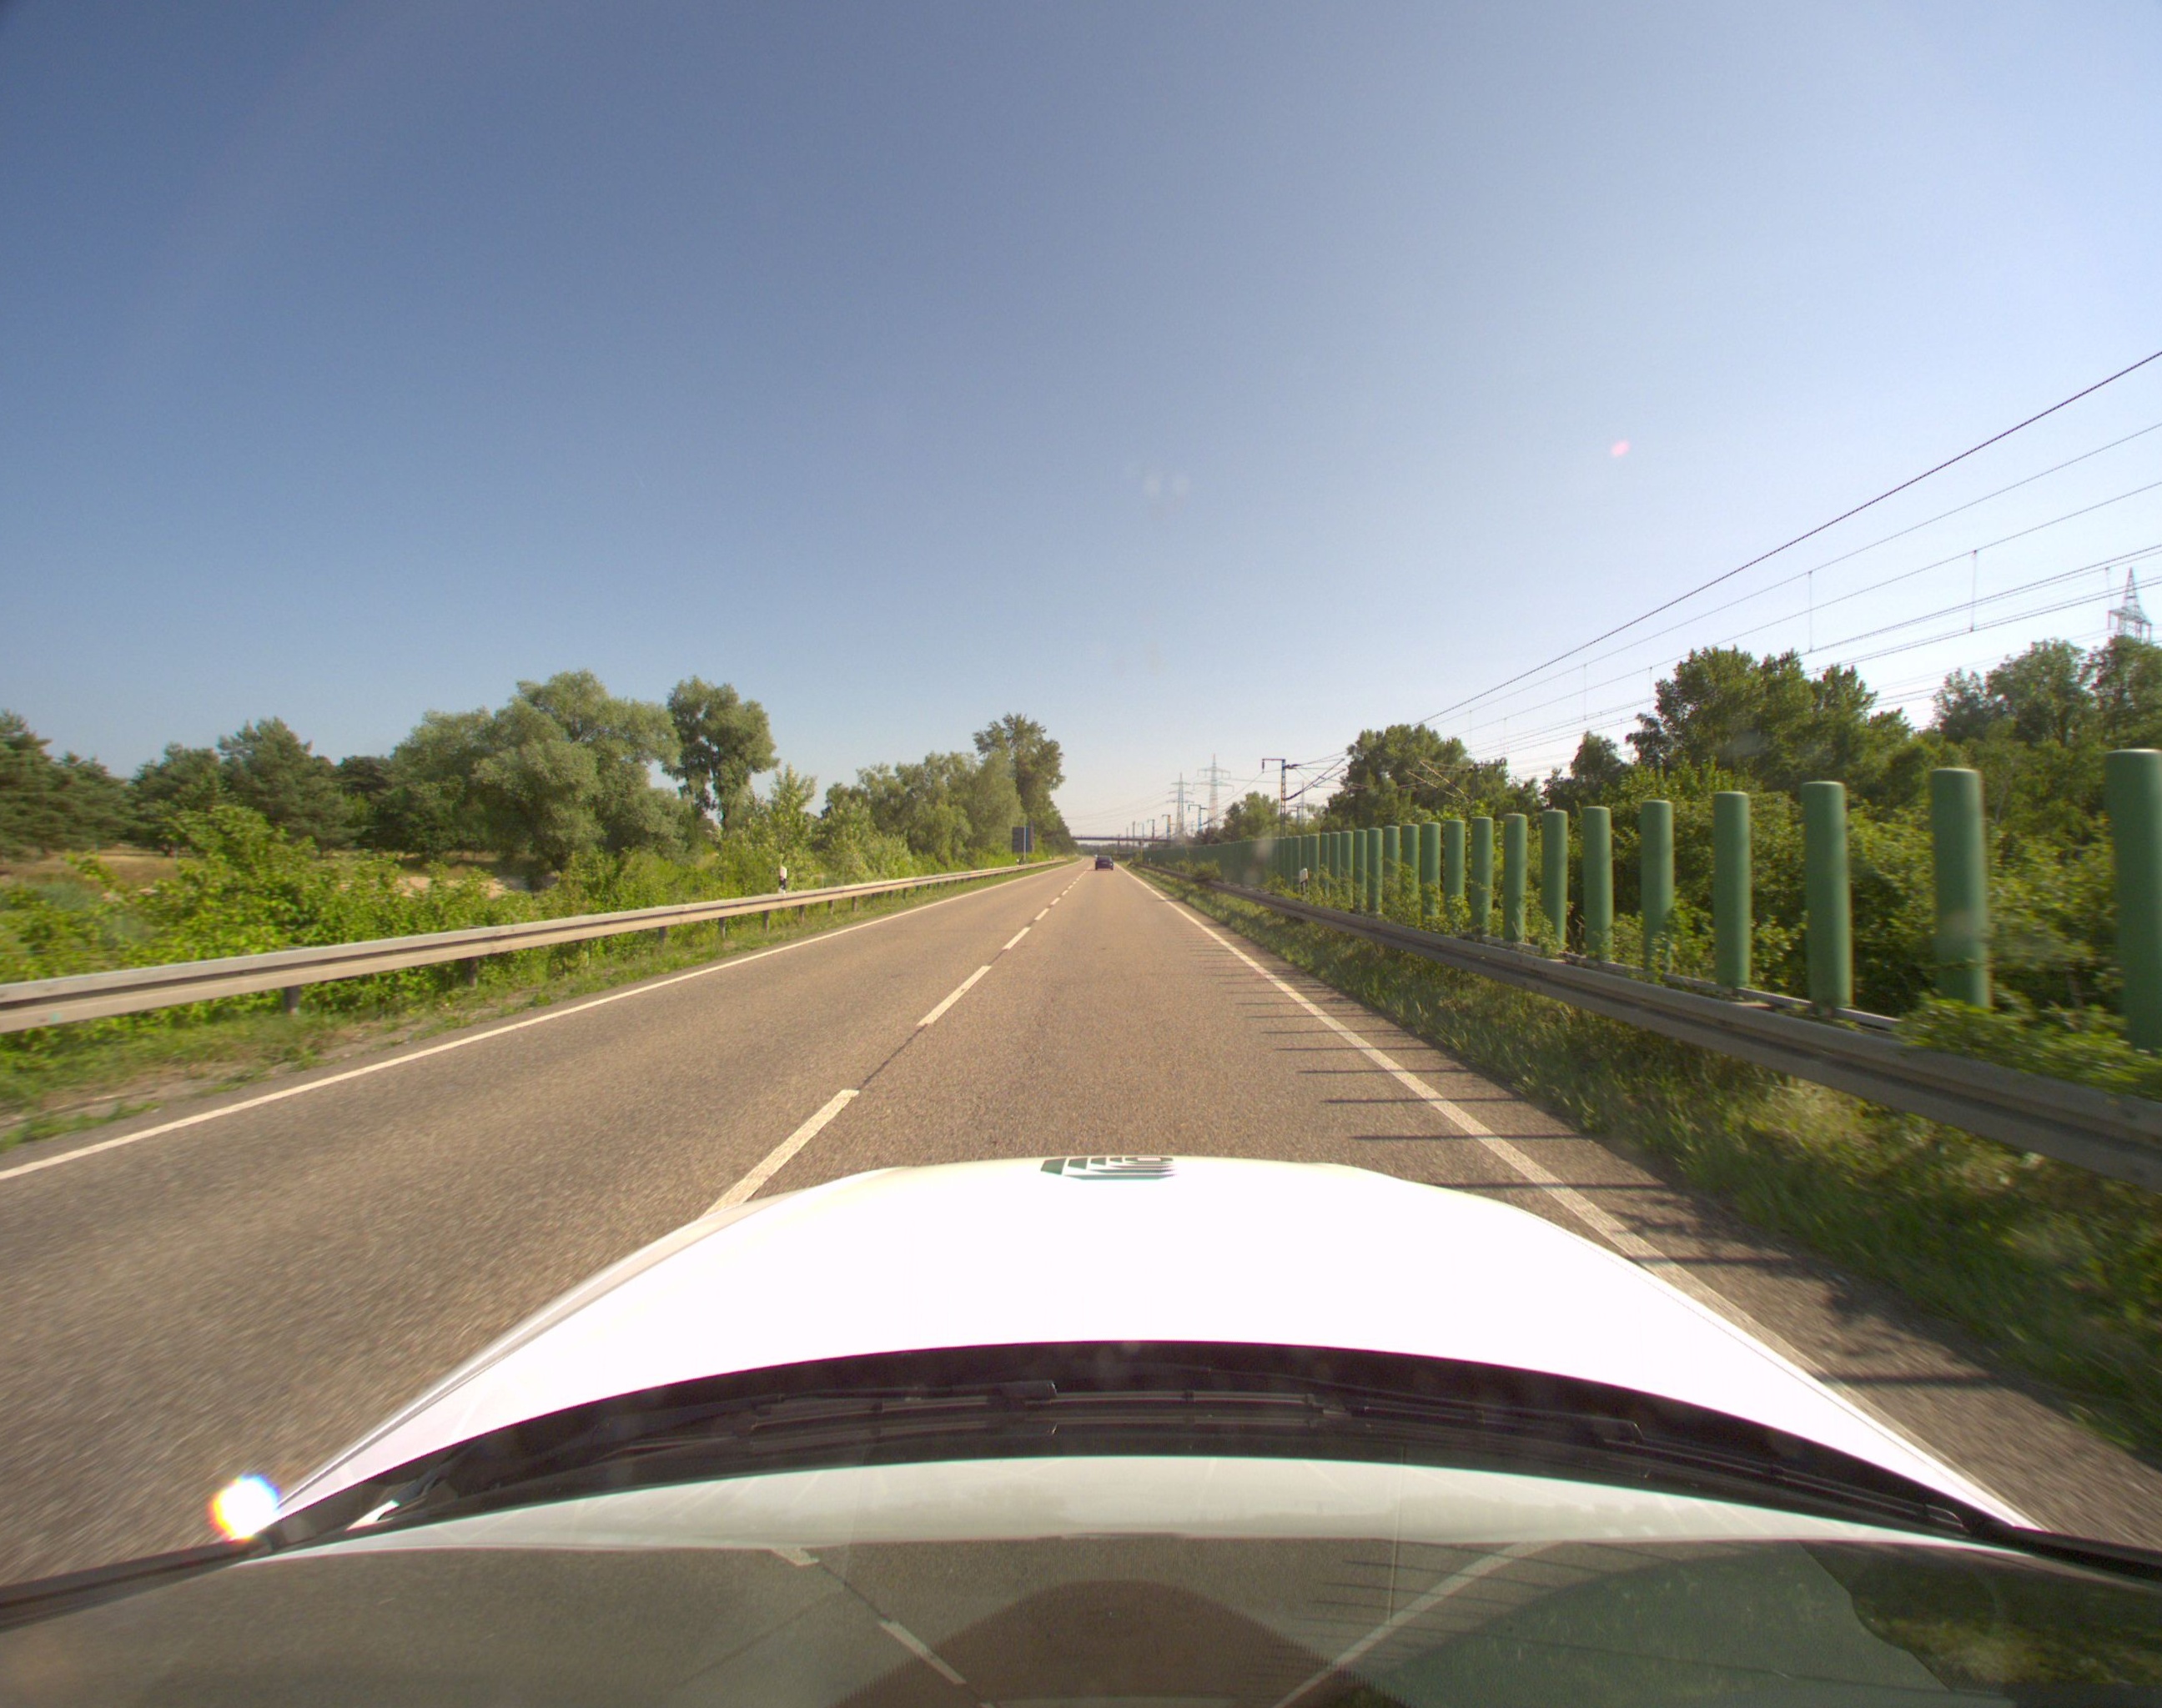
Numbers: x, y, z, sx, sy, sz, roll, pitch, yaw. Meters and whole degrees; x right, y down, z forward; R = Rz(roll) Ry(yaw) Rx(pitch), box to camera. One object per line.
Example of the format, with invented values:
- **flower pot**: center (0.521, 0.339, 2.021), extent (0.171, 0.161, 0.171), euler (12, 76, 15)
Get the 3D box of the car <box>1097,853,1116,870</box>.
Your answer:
- **car**: center (2.514, 0.729, 82.291), extent (1.852, 1.642, 4.000), euler (0, 0, 1)
